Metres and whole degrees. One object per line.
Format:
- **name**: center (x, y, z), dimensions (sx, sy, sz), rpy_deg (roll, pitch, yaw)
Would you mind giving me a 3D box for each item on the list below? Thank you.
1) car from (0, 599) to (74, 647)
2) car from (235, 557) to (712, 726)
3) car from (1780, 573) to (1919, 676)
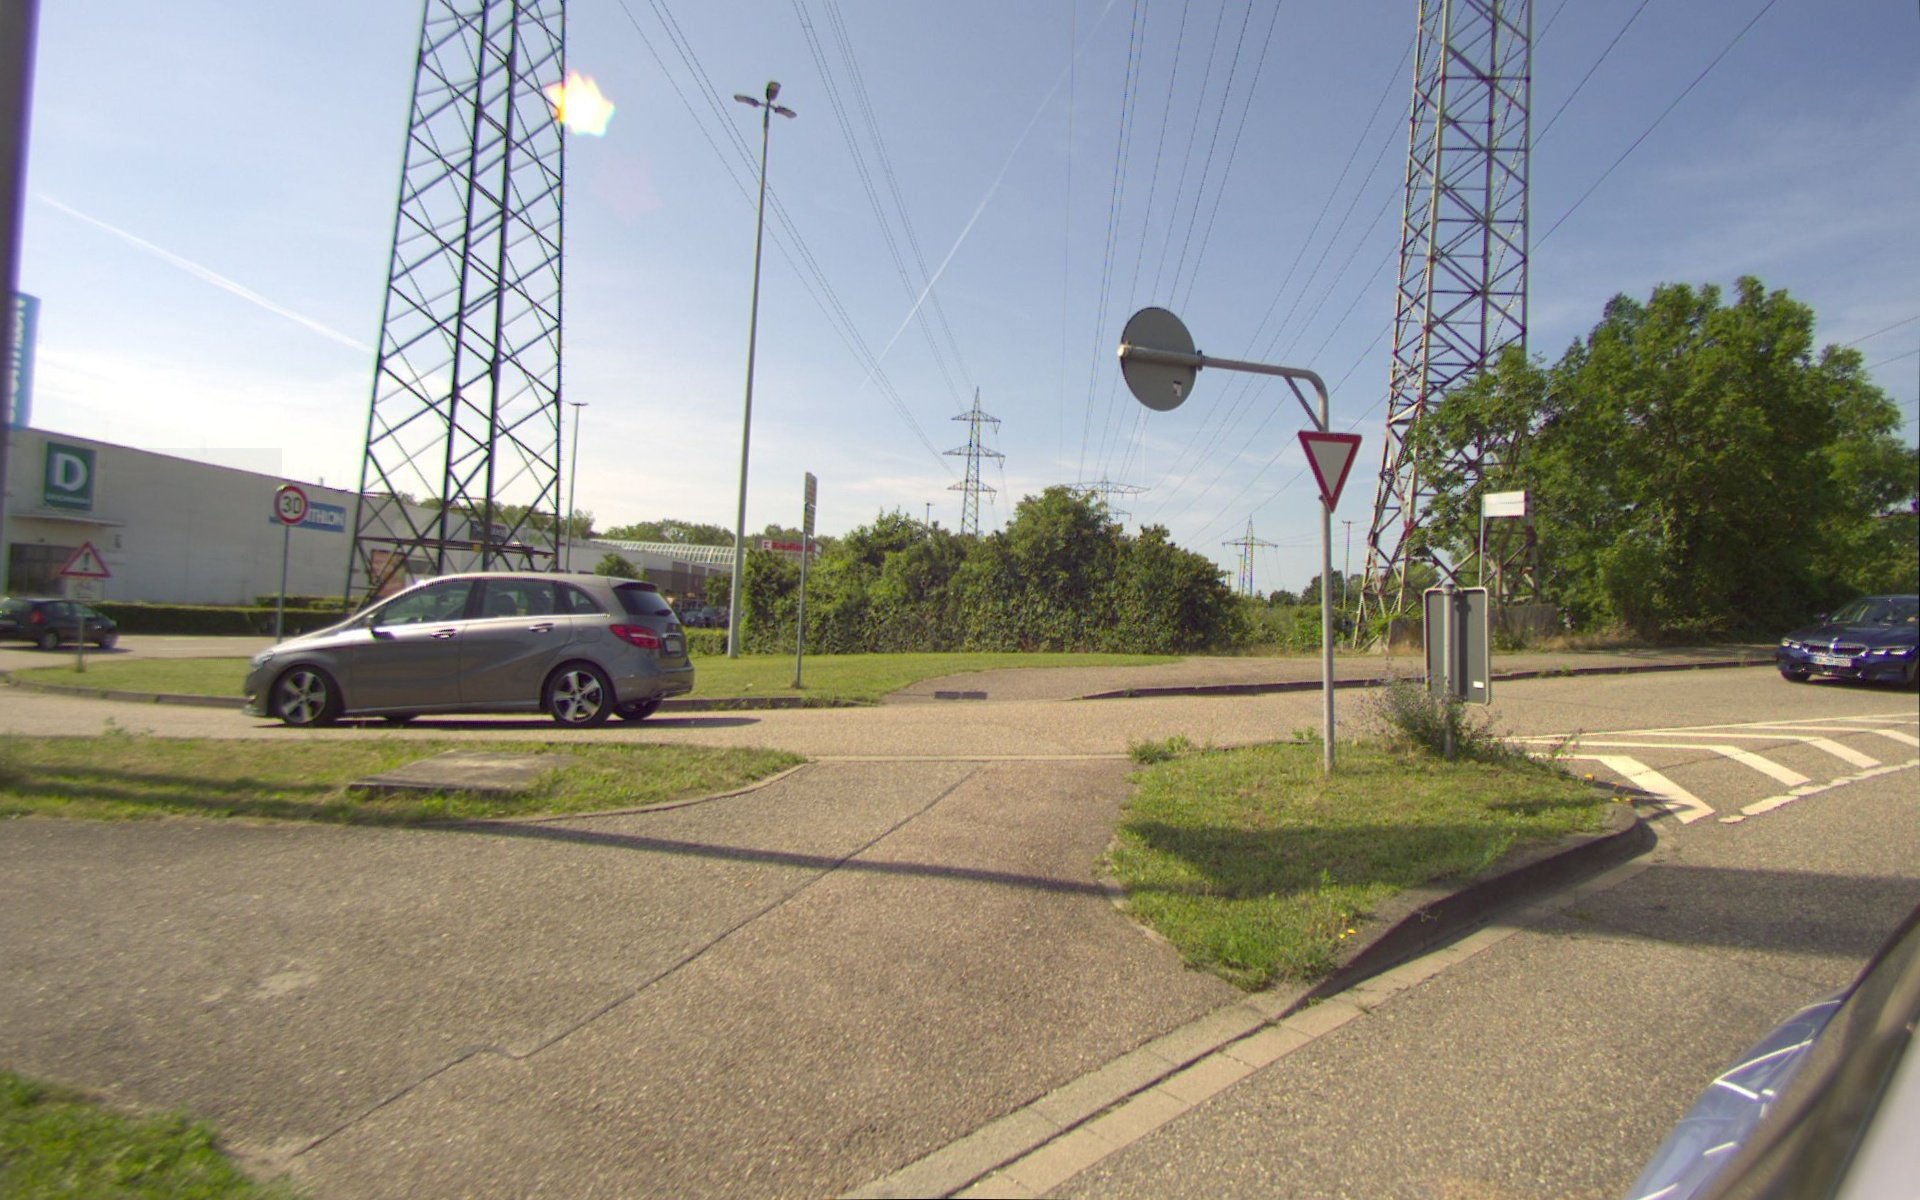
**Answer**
- **car**: center (-28.133, 0.670, 30.430), dimensions (1.745, 1.349, 3.740), rpy_deg (3, -2, -34)
- **car**: center (-4.839, 0.445, 10.537), dimensions (4.065, 1.549, 1.861), rpy_deg (-1, -3, 0)
- **car**: center (15.571, 0.481, 16.480), dimensions (4.427, 1.502, 1.796), rpy_deg (4, -1, -27)
